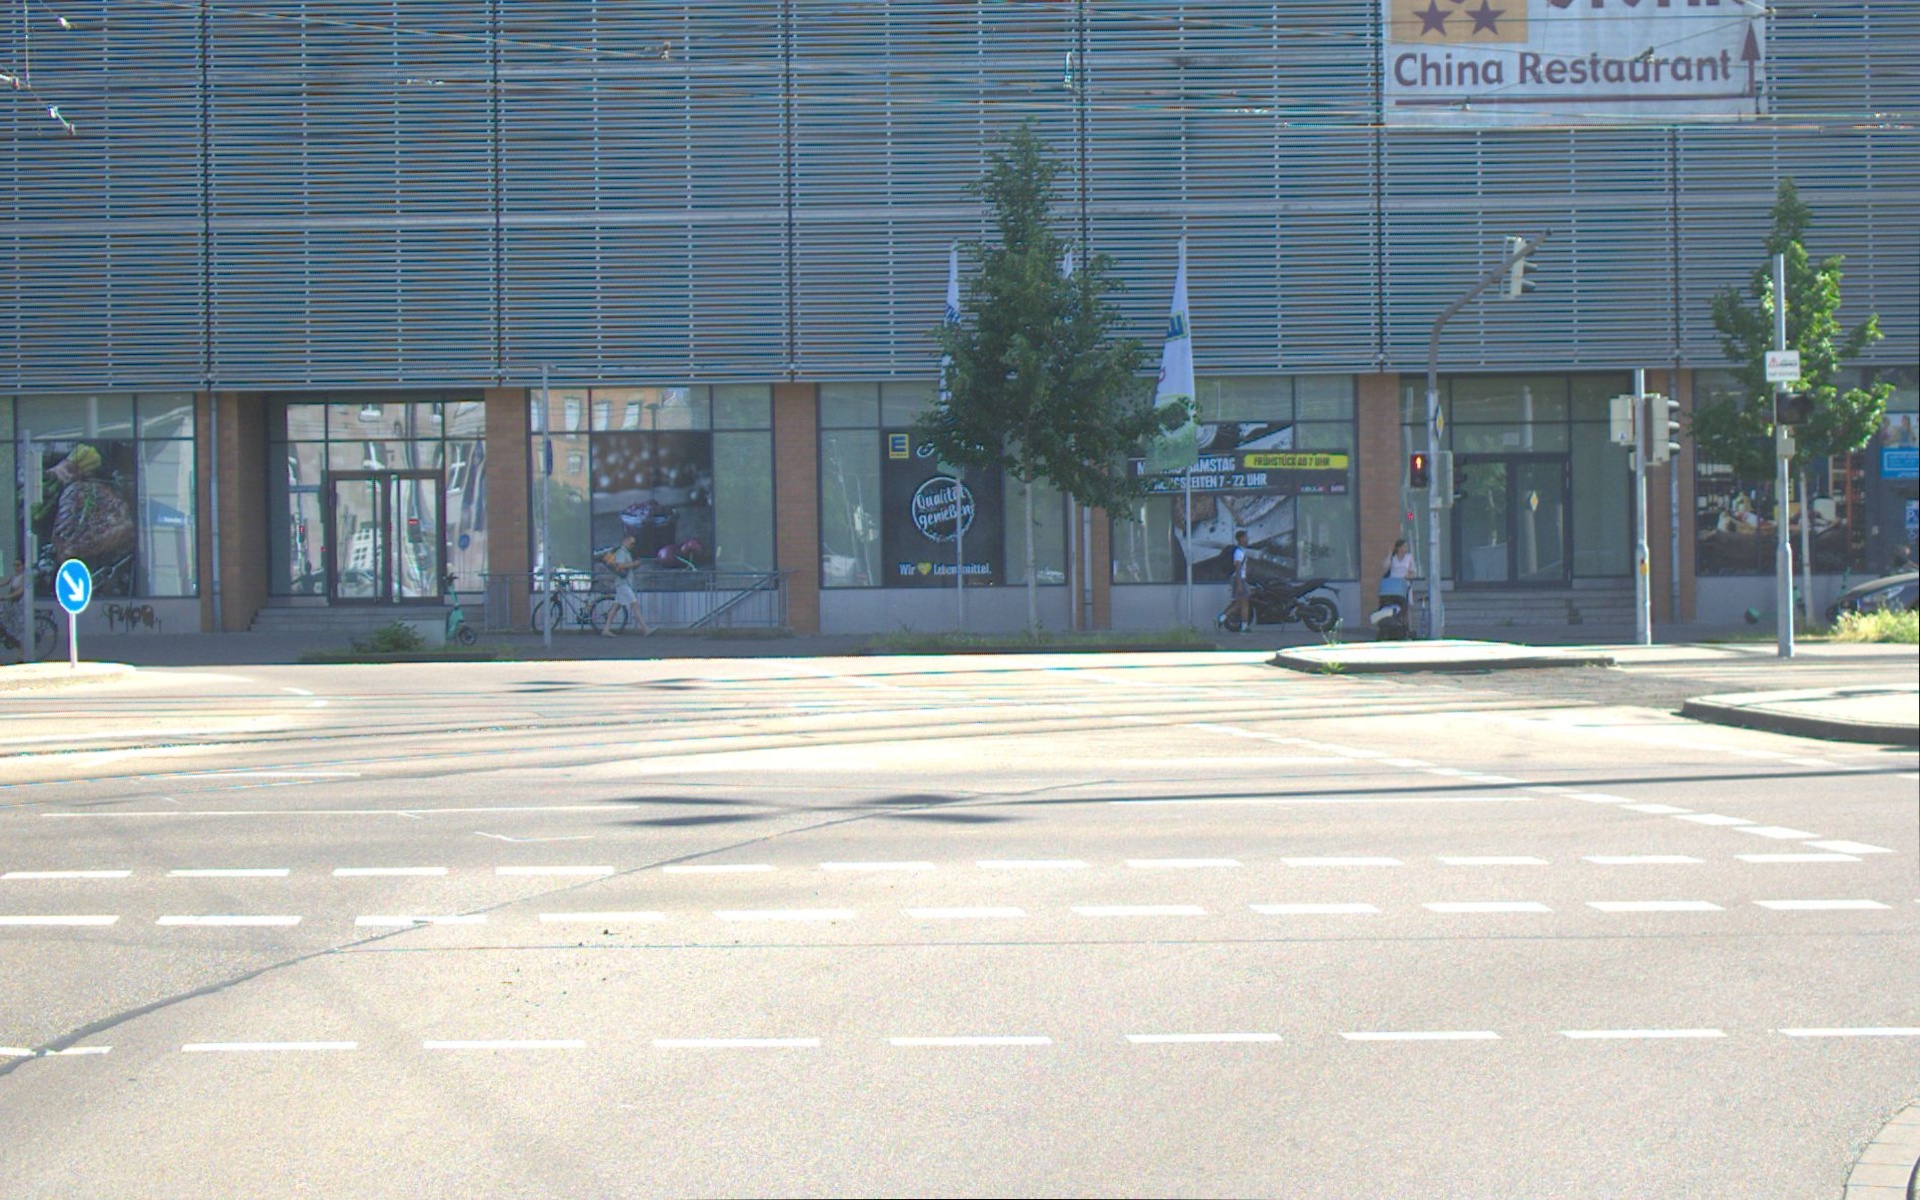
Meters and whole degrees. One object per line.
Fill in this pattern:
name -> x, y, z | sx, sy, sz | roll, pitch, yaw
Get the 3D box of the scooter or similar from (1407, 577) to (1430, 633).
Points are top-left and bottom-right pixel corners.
scooter or similar -> 7.350, 0.076, 55.097 | 0.295, 0.870, 1.003 | 1, 0, 10

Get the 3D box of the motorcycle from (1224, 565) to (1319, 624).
motorcycle -> 5.493, -0.101, 60.641 | 1.640, 1.001, 0.446 | 1, 1, 6

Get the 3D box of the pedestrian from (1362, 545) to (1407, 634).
pedestrian -> 6.830, -0.176, 55.274 | 0.655, 1.409, 0.849 | 1, 0, 10

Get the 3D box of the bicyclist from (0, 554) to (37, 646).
bicyclist -> -15.280, -0.001, 54.787 | 0.675, 1.422, 0.847 | 1, 3, 43

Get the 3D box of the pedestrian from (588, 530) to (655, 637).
pedestrian -> -5.872, -0.292, 59.599 | 0.950, 1.822, 0.846 | -2, 1, 5

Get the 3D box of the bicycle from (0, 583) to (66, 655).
bicycle -> -15.246, 0.308, 54.867 | 0.568, 1.082, 1.859 | 1, 3, 43

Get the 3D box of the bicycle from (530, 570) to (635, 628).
bicycle -> -6.650, -0.018, 60.549 | 1.815, 0.986, 0.558 | -1, 2, -10

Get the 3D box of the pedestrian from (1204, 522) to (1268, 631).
pedestrian -> 4.746, -0.419, 59.096 | 1.012, 1.822, 1.035 | -2, 1, 3

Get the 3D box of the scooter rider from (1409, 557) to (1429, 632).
scooter rider -> 7.343, -0.086, 55.035 | 0.288, 1.196, 0.385 | 1, 0, 10

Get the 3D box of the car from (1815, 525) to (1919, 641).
car -> 13.753, -0.140, 45.852 | 4.146, 1.464, 1.841 | 3, 0, -1

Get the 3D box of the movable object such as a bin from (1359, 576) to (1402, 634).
movable object such as a bin -> 6.711, 0.080, 54.814 | 0.613, 0.901, 0.968 | 1, 0, 10

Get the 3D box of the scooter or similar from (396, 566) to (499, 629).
scooter or similar -> -9.079, -0.048, 60.932 | 1.792, 1.062, 0.613 | 0, 2, -8
